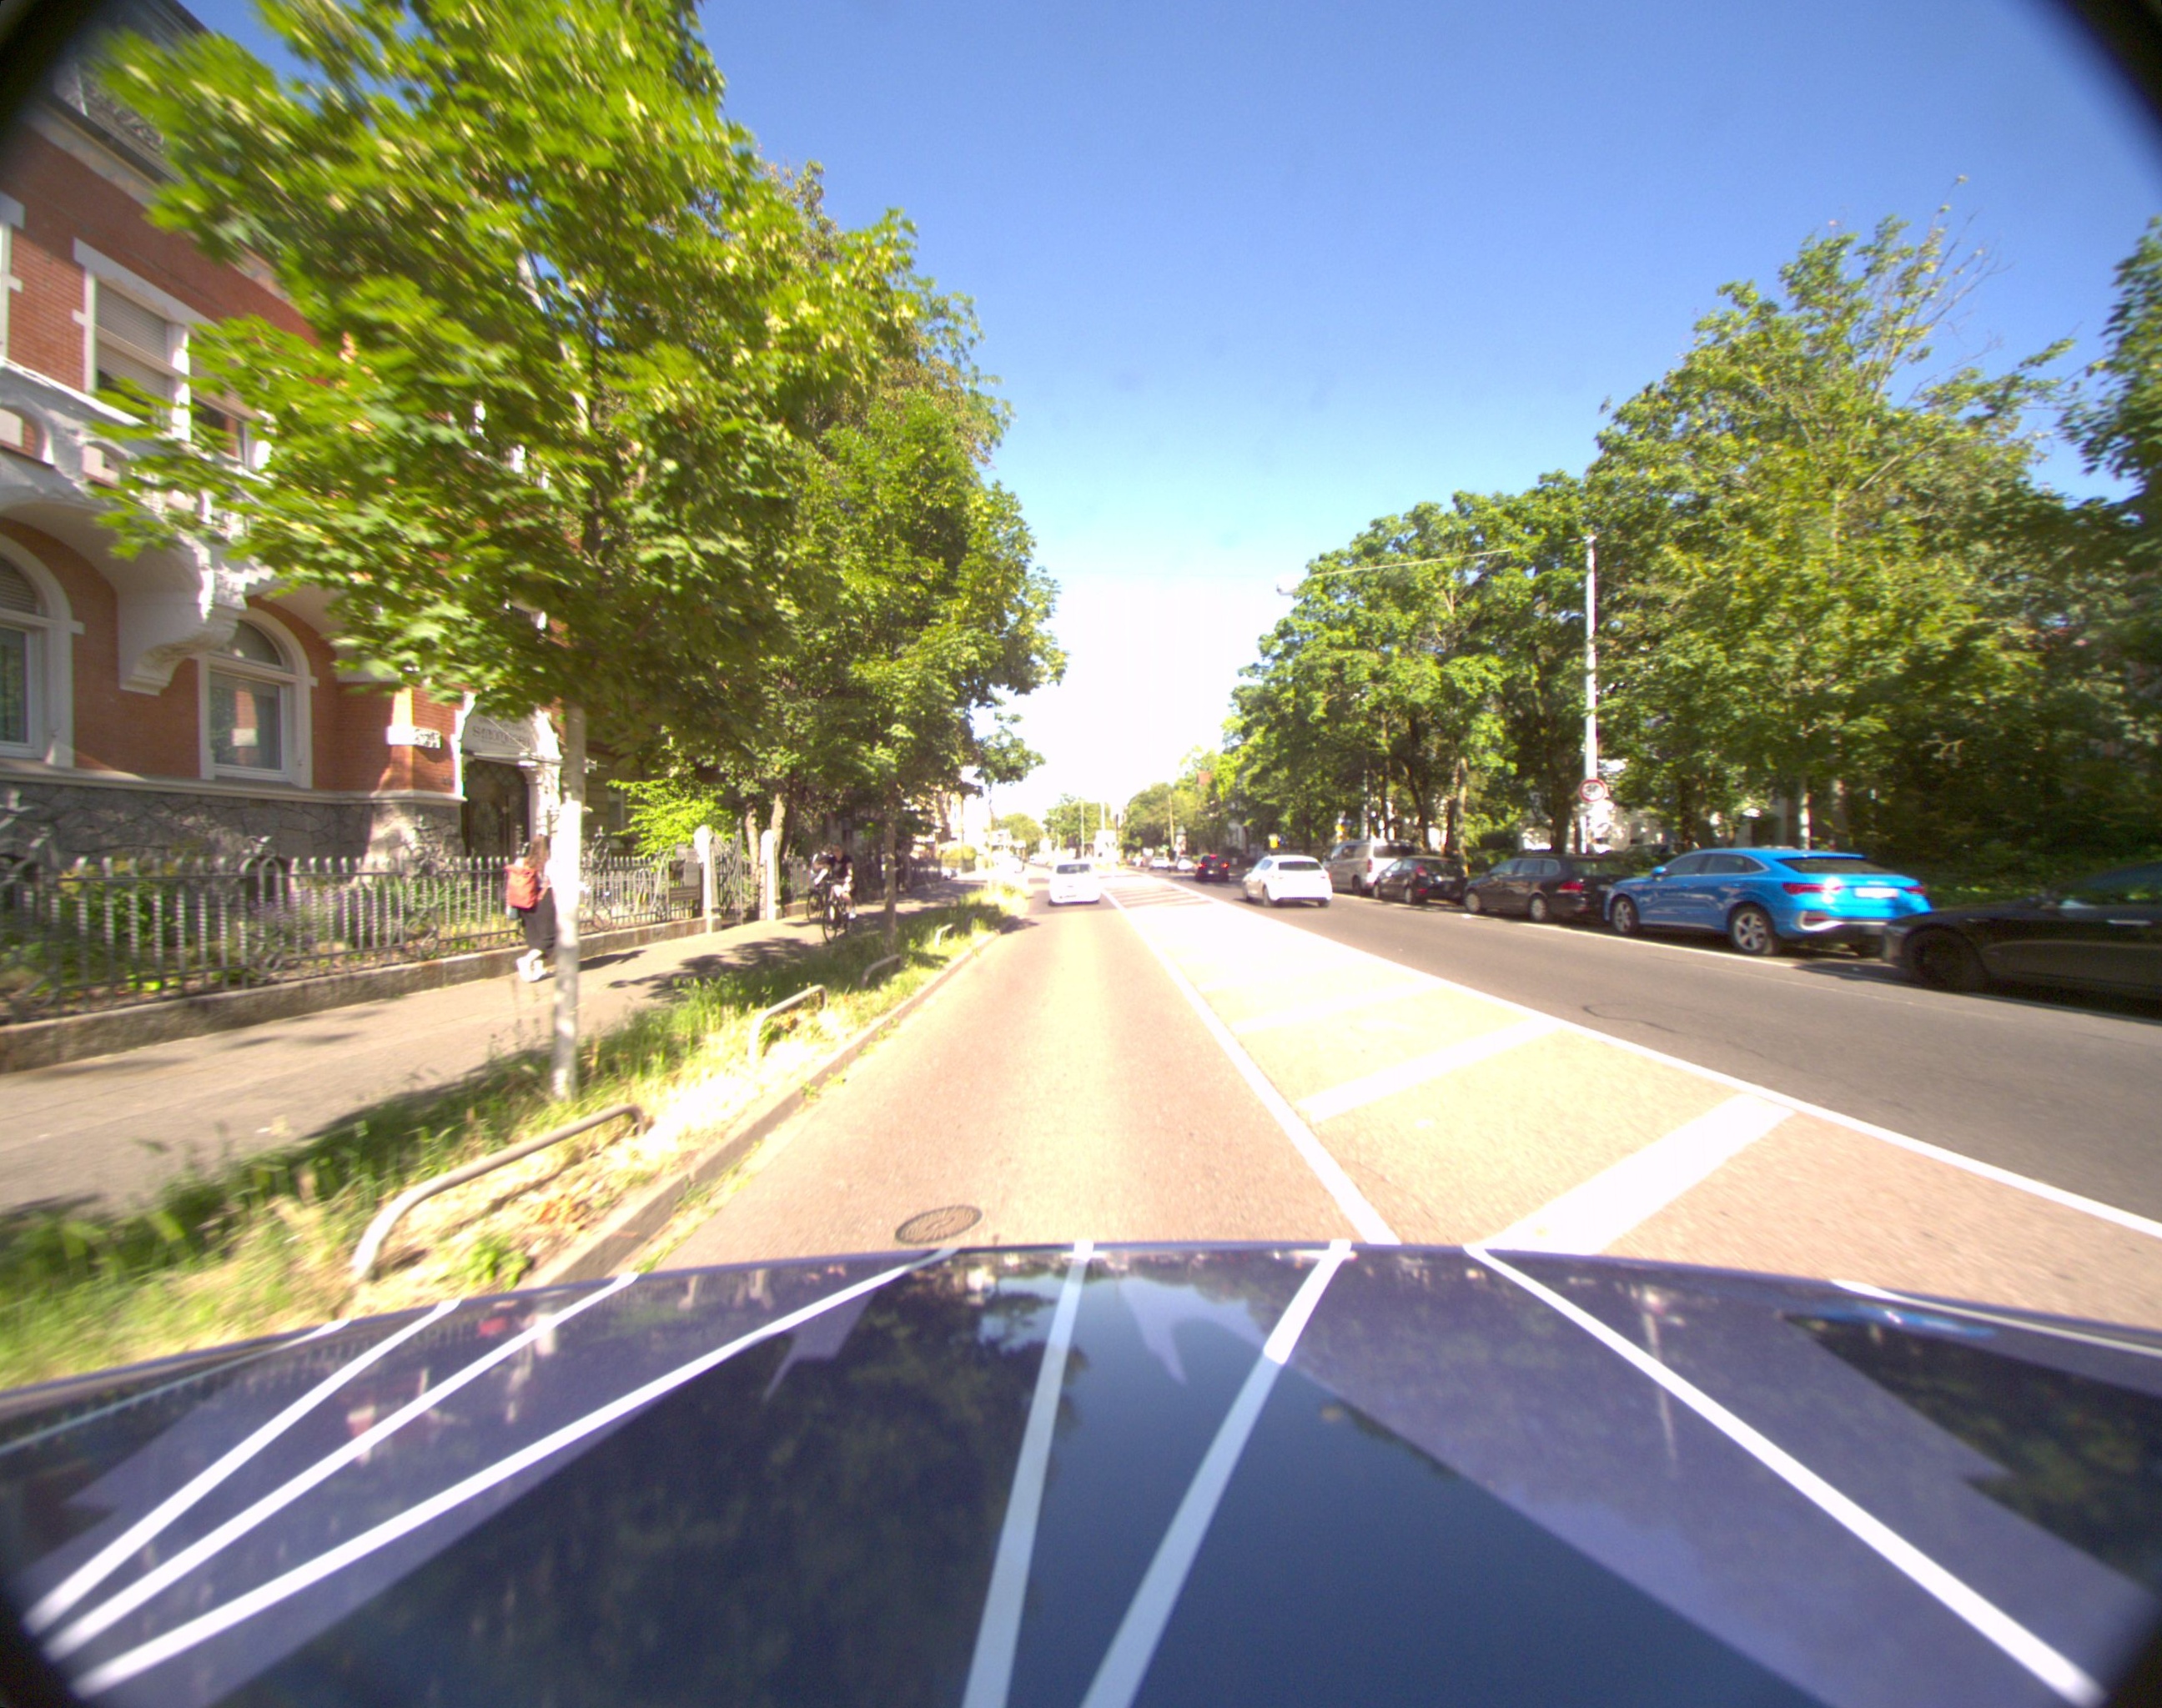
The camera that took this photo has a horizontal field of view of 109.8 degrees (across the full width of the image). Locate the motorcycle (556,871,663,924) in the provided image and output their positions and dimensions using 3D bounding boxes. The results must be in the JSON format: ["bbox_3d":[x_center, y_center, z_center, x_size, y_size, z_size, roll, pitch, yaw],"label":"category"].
[{"bbox_3d":[-10.015,0.907,16.162,1.879,1.026,0.782,1,2,9],"label":"motorcycle"}]

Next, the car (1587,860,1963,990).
[{"bbox_3d":[10.352,0.923,11.962,1.784,1.529,4.559,2,0,2],"label":"car"}]

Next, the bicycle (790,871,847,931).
[{"bbox_3d":[-5.629,0.977,16.400,0.617,1.169,1.918,3,0,-3],"label":"bicycle"}]

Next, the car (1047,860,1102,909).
[{"bbox_3d":[-0.144,1.003,26.499,1.652,1.449,3.897,-2,0,3],"label":"car"}]

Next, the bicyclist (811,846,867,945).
[{"bbox_3d":[-4.288,0.722,13.535,0.647,1.685,0.889,3,0,-1],"label":"bicyclist"}]

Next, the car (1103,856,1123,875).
[{"bbox_3d":[3.243,1.143,77.358,1.694,1.862,3.560,0,0,-3],"label":"car"}]

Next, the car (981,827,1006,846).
[{"bbox_3d":[-7.460,-1.451,65.227,1.847,1.432,4.104,2,0,-3],"label":"car"}]

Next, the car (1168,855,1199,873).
[{"bbox_3d":[8.640,0.801,64.333,1.843,1.482,3.779,0,0,-3],"label":"car"}]

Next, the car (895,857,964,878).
[{"bbox_3d":[-10.627,0.923,53.600,4.417,1.409,2.047,1,0,2],"label":"car"}]

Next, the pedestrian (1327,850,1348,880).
[{"bbox_3d":[15.232,0.646,45.212,0.872,1.745,0.819,-1,1,-10],"label":"pedestrian"}]

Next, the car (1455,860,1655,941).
[{"bbox_3d":[10.234,0.922,16.849,1.594,1.474,4.270,1,1,-3],"label":"car"}]

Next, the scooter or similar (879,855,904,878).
[{"bbox_3d":[-11.048,0.726,44.351,0.759,1.256,1.411,2,1,17],"label":"scooter or similar"}]

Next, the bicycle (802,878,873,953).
[{"bbox_3d":[-4.302,1.049,13.571,0.654,1.169,1.843,3,0,-1],"label":"bicycle"}]

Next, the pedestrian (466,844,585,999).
[{"bbox_3d":[-6.232,0.721,8.566,0.696,1.649,0.820,2,1,0],"label":"pedestrian"}]

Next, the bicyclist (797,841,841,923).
[{"bbox_3d":[-5.607,0.587,16.318,0.622,1.680,0.820,3,0,-3],"label":"bicyclist"}]

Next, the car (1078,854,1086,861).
[{"bbox_3d":[0.233,0.830,182.090,1.595,1.420,3.715,1,1,-3],"label":"car"}]

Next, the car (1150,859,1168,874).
[{"bbox_3d":[8.744,1.376,85.247,1.808,1.485,4.714,-1,0,3],"label":"car"}]

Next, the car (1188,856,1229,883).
[{"bbox_3d":[7.068,0.835,42.482,1.596,1.441,4.133,0,0,1],"label":"car"}]

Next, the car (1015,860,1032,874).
[{"bbox_3d":[-7.221,1.576,95.882,1.893,1.679,4.699,-1,0,-1],"label":"car"}]

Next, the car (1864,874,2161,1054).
[{"bbox_3d":[9.755,0.949,6.395,1.785,1.405,4.405,1,0,0],"label":"car"}]

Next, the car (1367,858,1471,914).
[{"bbox_3d":[10.302,0.928,23.474,1.467,1.493,3.958,1,1,1],"label":"car"}]

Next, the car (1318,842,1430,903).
[{"bbox_3d":[10.673,0.638,28.164,1.989,2.024,4.873,2,0,-3],"label":"car"}]

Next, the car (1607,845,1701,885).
[{"bbox_3d":[34.107,0.631,45.425,1.893,2.233,4.917,0,0,1],"label":"car"}]

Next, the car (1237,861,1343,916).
[{"bbox_3d":[5.966,0.932,22.257,1.923,1.411,4.225,0,0,0],"label":"car"}]
